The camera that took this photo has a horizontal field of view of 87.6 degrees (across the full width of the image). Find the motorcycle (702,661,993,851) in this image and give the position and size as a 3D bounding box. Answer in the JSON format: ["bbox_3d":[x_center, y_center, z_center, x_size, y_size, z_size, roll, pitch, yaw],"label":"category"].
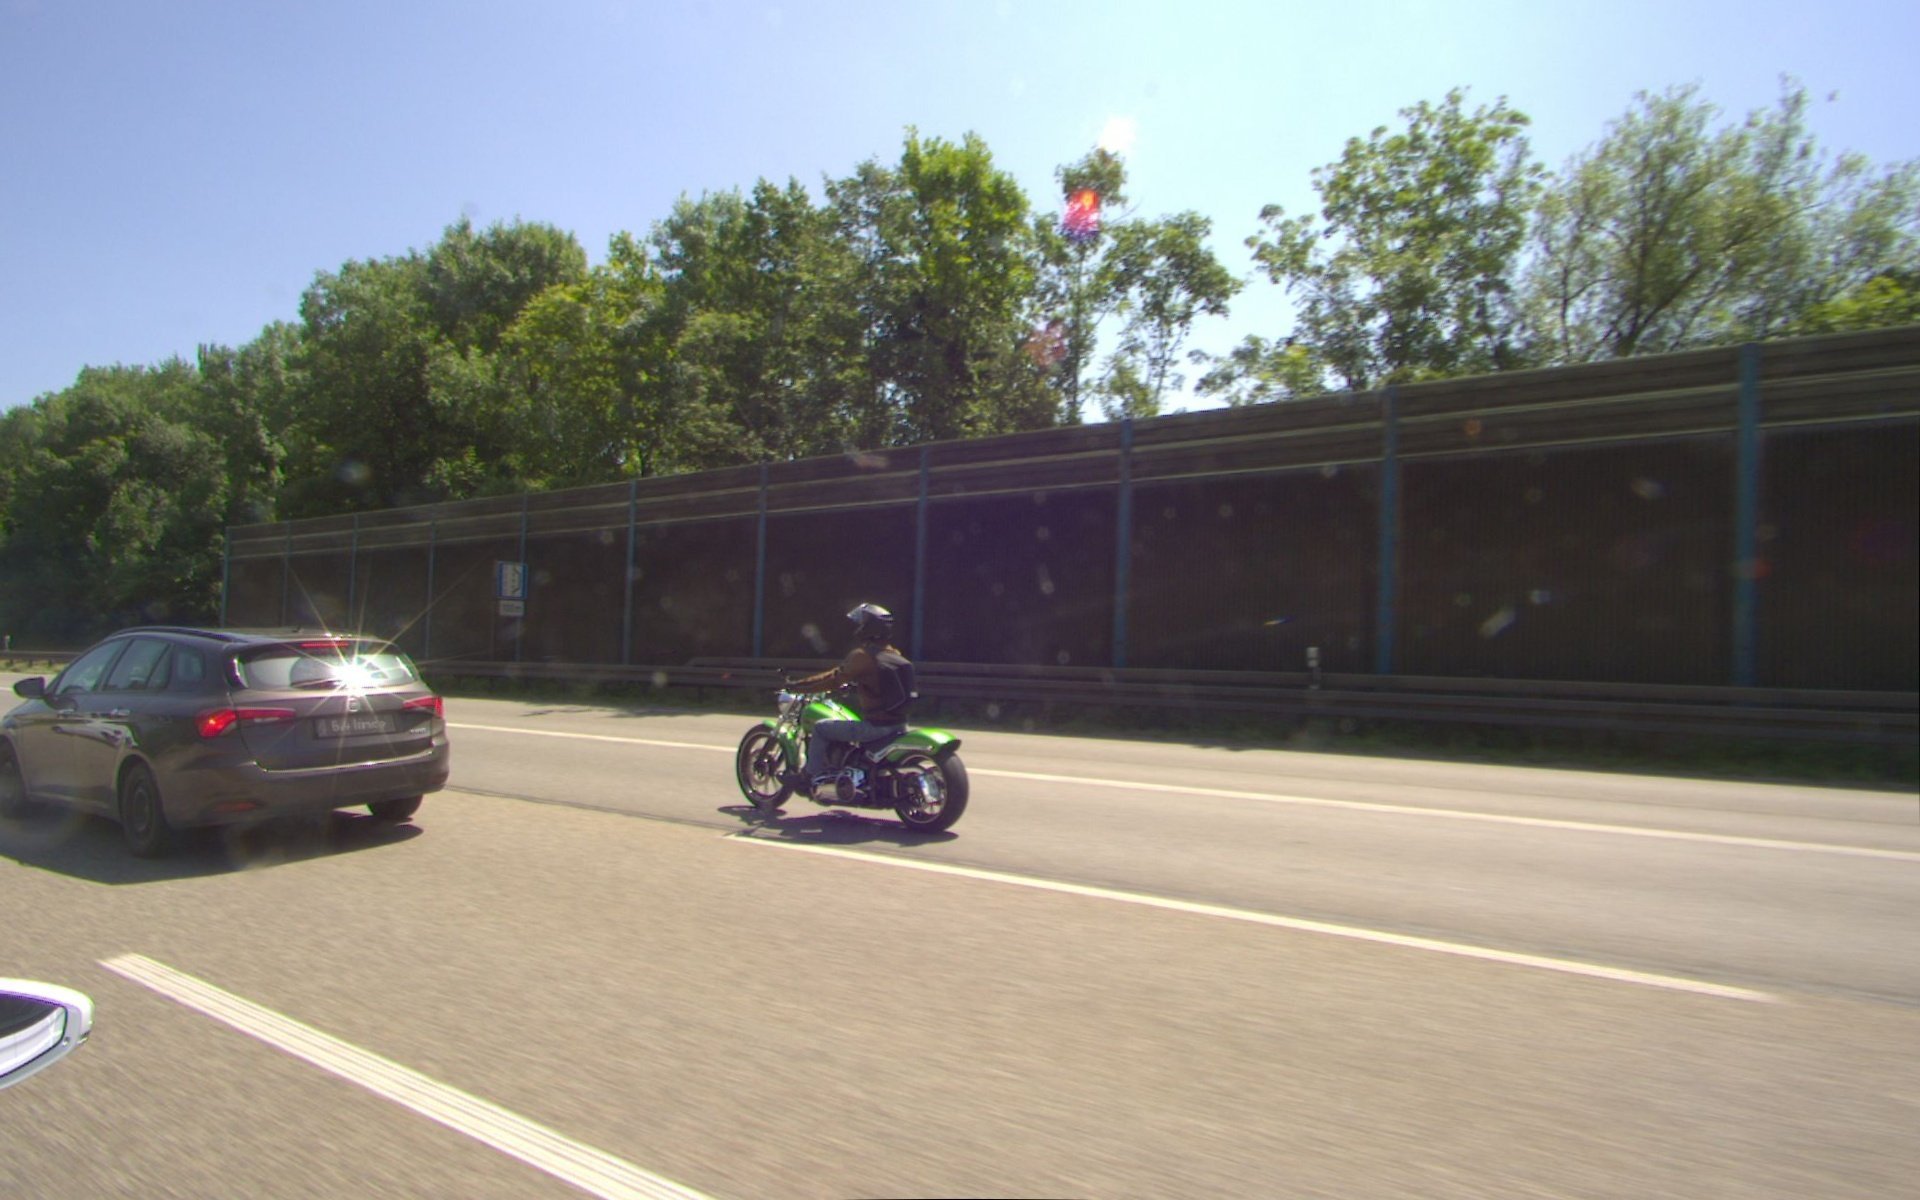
[{"bbox_3d":[-0.915,1.112,7.758,2.246,1.197,0.857,0,-1,36],"label":"motorcycle"}]

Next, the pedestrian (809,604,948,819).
[{"bbox_3d":[-0.599,0.791,7.526,0.630,1.498,0.849,0,-1,35],"label":"pedestrian"}]

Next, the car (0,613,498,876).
[{"bbox_3d":[-5.756,0.890,7.822,4.338,1.532,1.835,0,-2,32],"label":"car"}]
